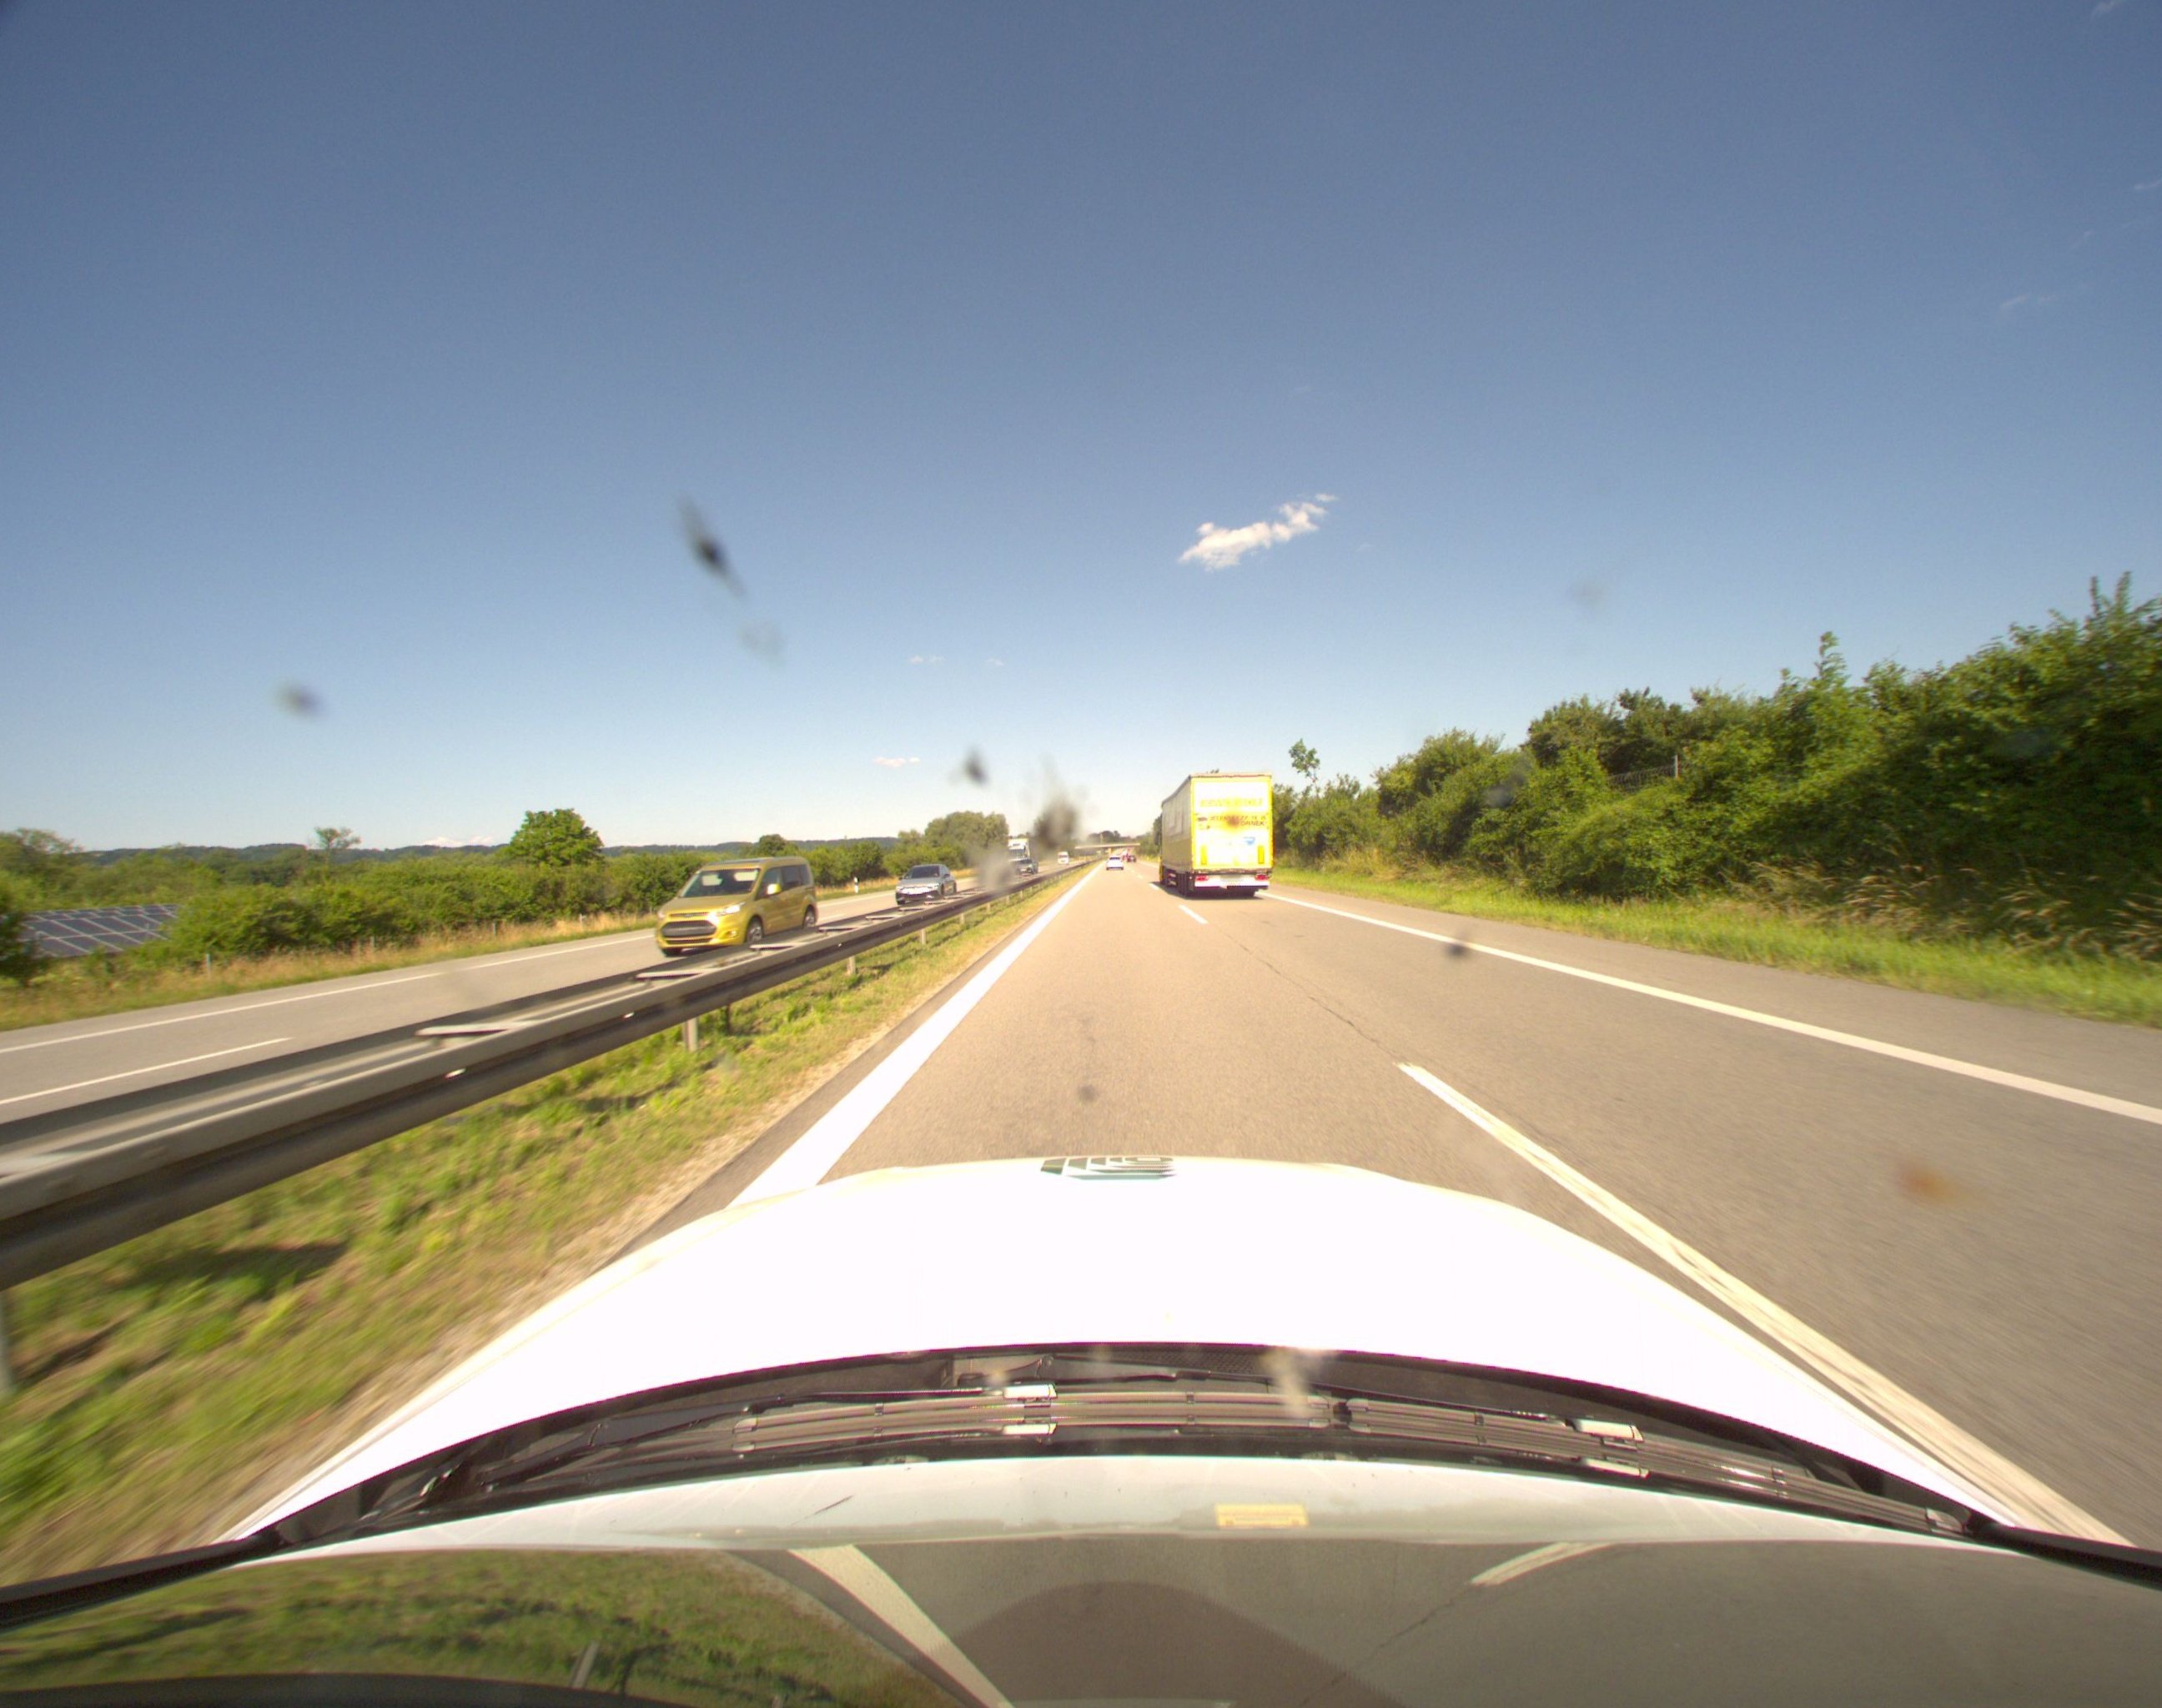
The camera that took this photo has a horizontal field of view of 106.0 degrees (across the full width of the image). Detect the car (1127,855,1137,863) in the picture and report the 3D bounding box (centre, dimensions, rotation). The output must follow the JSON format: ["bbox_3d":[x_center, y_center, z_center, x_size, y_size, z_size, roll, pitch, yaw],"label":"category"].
[{"bbox_3d":[10.008,0.942,159.867,1.835,1.520,4.003,-1,0,3],"label":"car"}]

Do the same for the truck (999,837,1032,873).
[{"bbox_3d":[-8.135,0.092,101.881,3.158,4.113,6.389,-4,0,1],"label":"truck"}]

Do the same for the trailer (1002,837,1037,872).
[{"bbox_3d":[-8.019,0.119,108.421,3.174,4.059,14.598,-5,0,1],"label":"trailer"}]

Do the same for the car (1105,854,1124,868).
[{"bbox_3d":[3.470,0.739,83.897,1.835,1.415,4.003,-1,0,3],"label":"car"}]

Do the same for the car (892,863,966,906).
[{"bbox_3d":[-5.990,1.147,32.685,1.759,1.420,4.474,-6,-1,4],"label":"car"}]

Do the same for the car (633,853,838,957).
[{"bbox_3d":[-7.011,0.941,17.219,1.942,1.771,4.753,-4,-1,4],"label":"car"}]

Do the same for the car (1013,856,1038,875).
[{"bbox_3d":[-5.261,1.070,77.920,1.719,1.582,4.770,-5,-1,2],"label":"car"}]

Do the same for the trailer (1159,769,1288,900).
[{"bbox_3d":[5.087,-0.578,31.990,3.172,4.059,13.192,-1,0,2],"label":"trailer"}]

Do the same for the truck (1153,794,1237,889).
[{"bbox_3d":[5.251,-0.549,38.678,3.158,4.114,6.389,-1,0,1],"label":"truck"}]

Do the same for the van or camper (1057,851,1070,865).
[{"bbox_3d":[-3.505,0.806,164.675,1.986,2.496,7.231,-4,0,2],"label":"van or camper"}]
